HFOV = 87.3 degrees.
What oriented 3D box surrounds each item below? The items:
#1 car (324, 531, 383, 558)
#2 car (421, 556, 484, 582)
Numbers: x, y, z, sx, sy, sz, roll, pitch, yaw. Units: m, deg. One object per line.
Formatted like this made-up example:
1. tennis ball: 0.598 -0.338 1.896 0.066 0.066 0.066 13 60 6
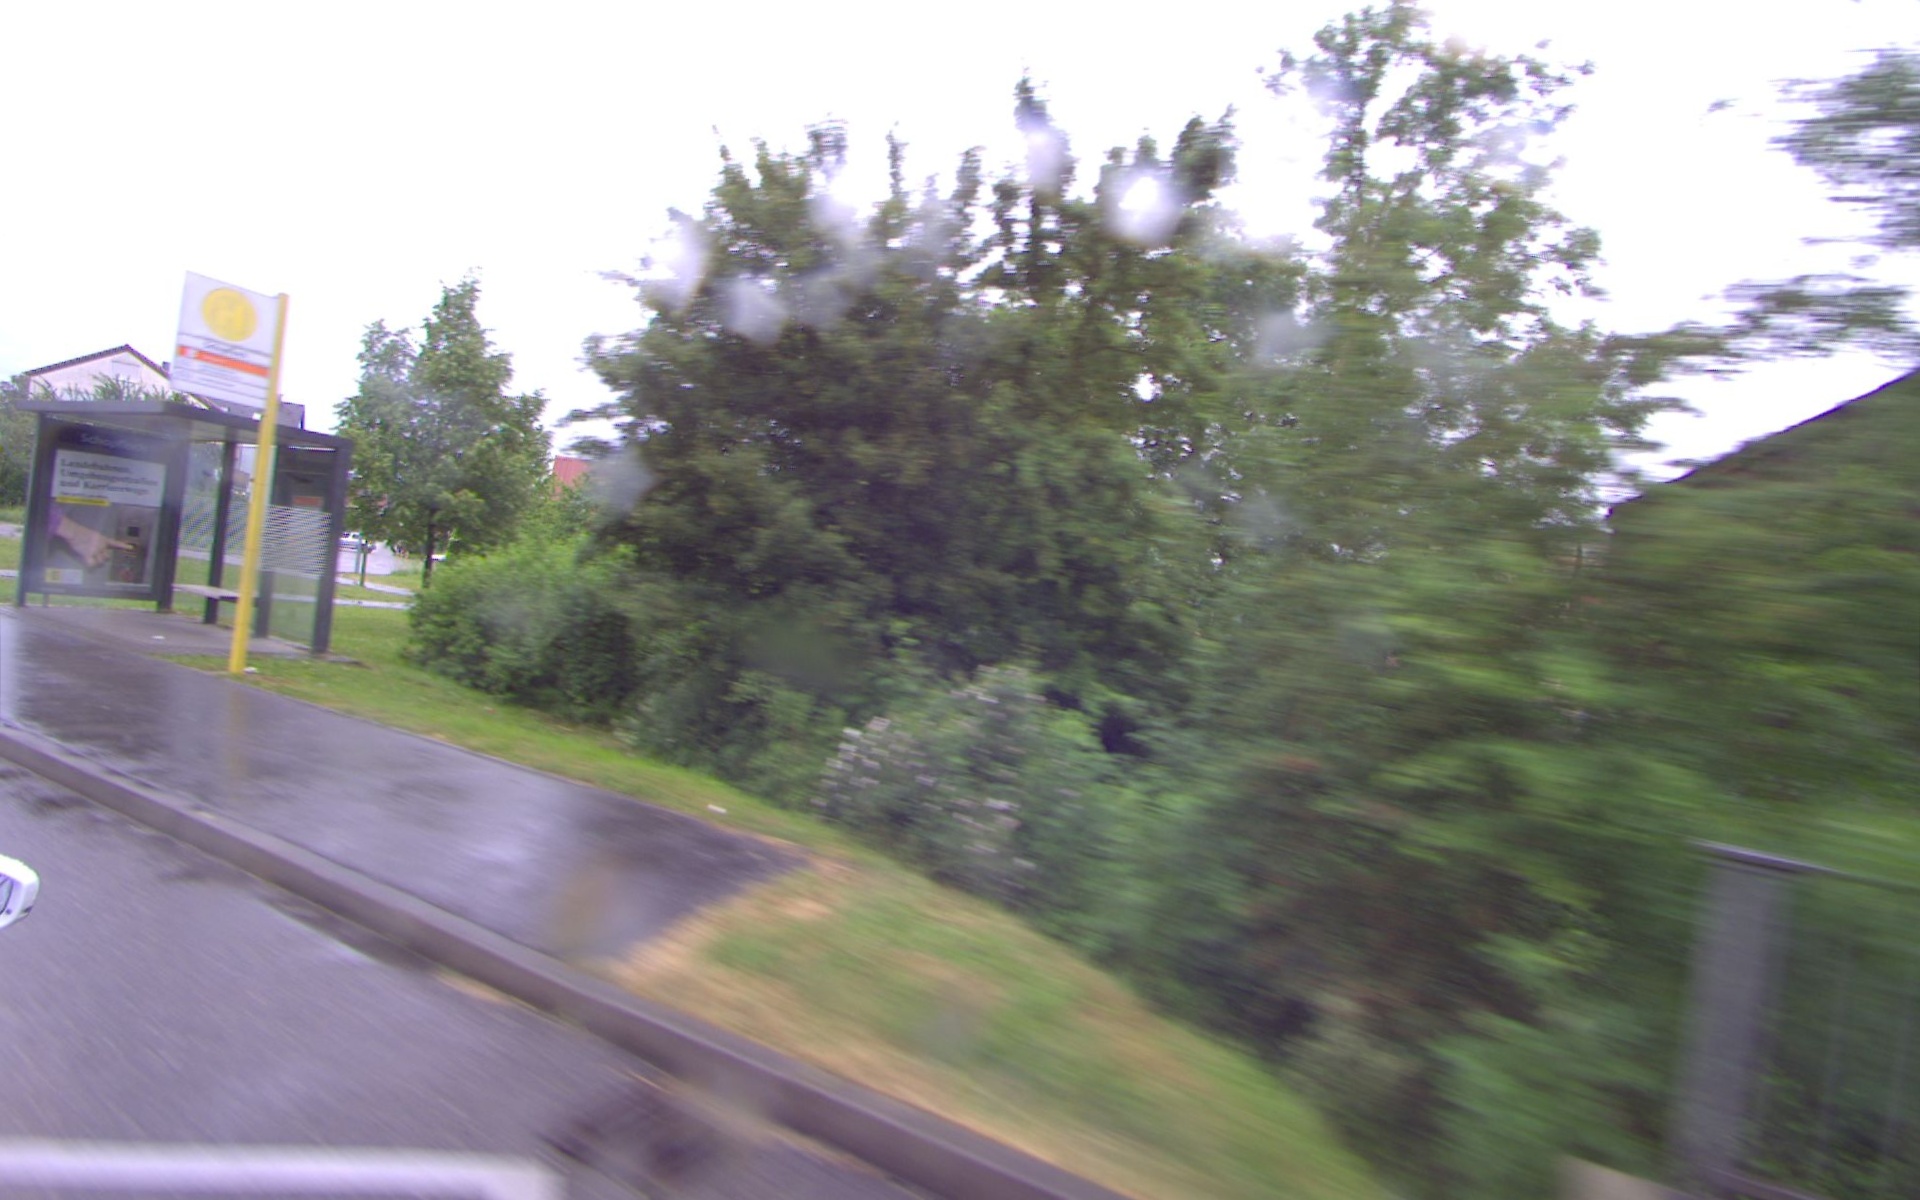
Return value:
1. car: -53.476 -4.869 88.740 3.938 1.849 1.891 6 0 -15
2. car: -37.496 -2.283 74.363 3.956 1.390 1.771 8 -1 -29
